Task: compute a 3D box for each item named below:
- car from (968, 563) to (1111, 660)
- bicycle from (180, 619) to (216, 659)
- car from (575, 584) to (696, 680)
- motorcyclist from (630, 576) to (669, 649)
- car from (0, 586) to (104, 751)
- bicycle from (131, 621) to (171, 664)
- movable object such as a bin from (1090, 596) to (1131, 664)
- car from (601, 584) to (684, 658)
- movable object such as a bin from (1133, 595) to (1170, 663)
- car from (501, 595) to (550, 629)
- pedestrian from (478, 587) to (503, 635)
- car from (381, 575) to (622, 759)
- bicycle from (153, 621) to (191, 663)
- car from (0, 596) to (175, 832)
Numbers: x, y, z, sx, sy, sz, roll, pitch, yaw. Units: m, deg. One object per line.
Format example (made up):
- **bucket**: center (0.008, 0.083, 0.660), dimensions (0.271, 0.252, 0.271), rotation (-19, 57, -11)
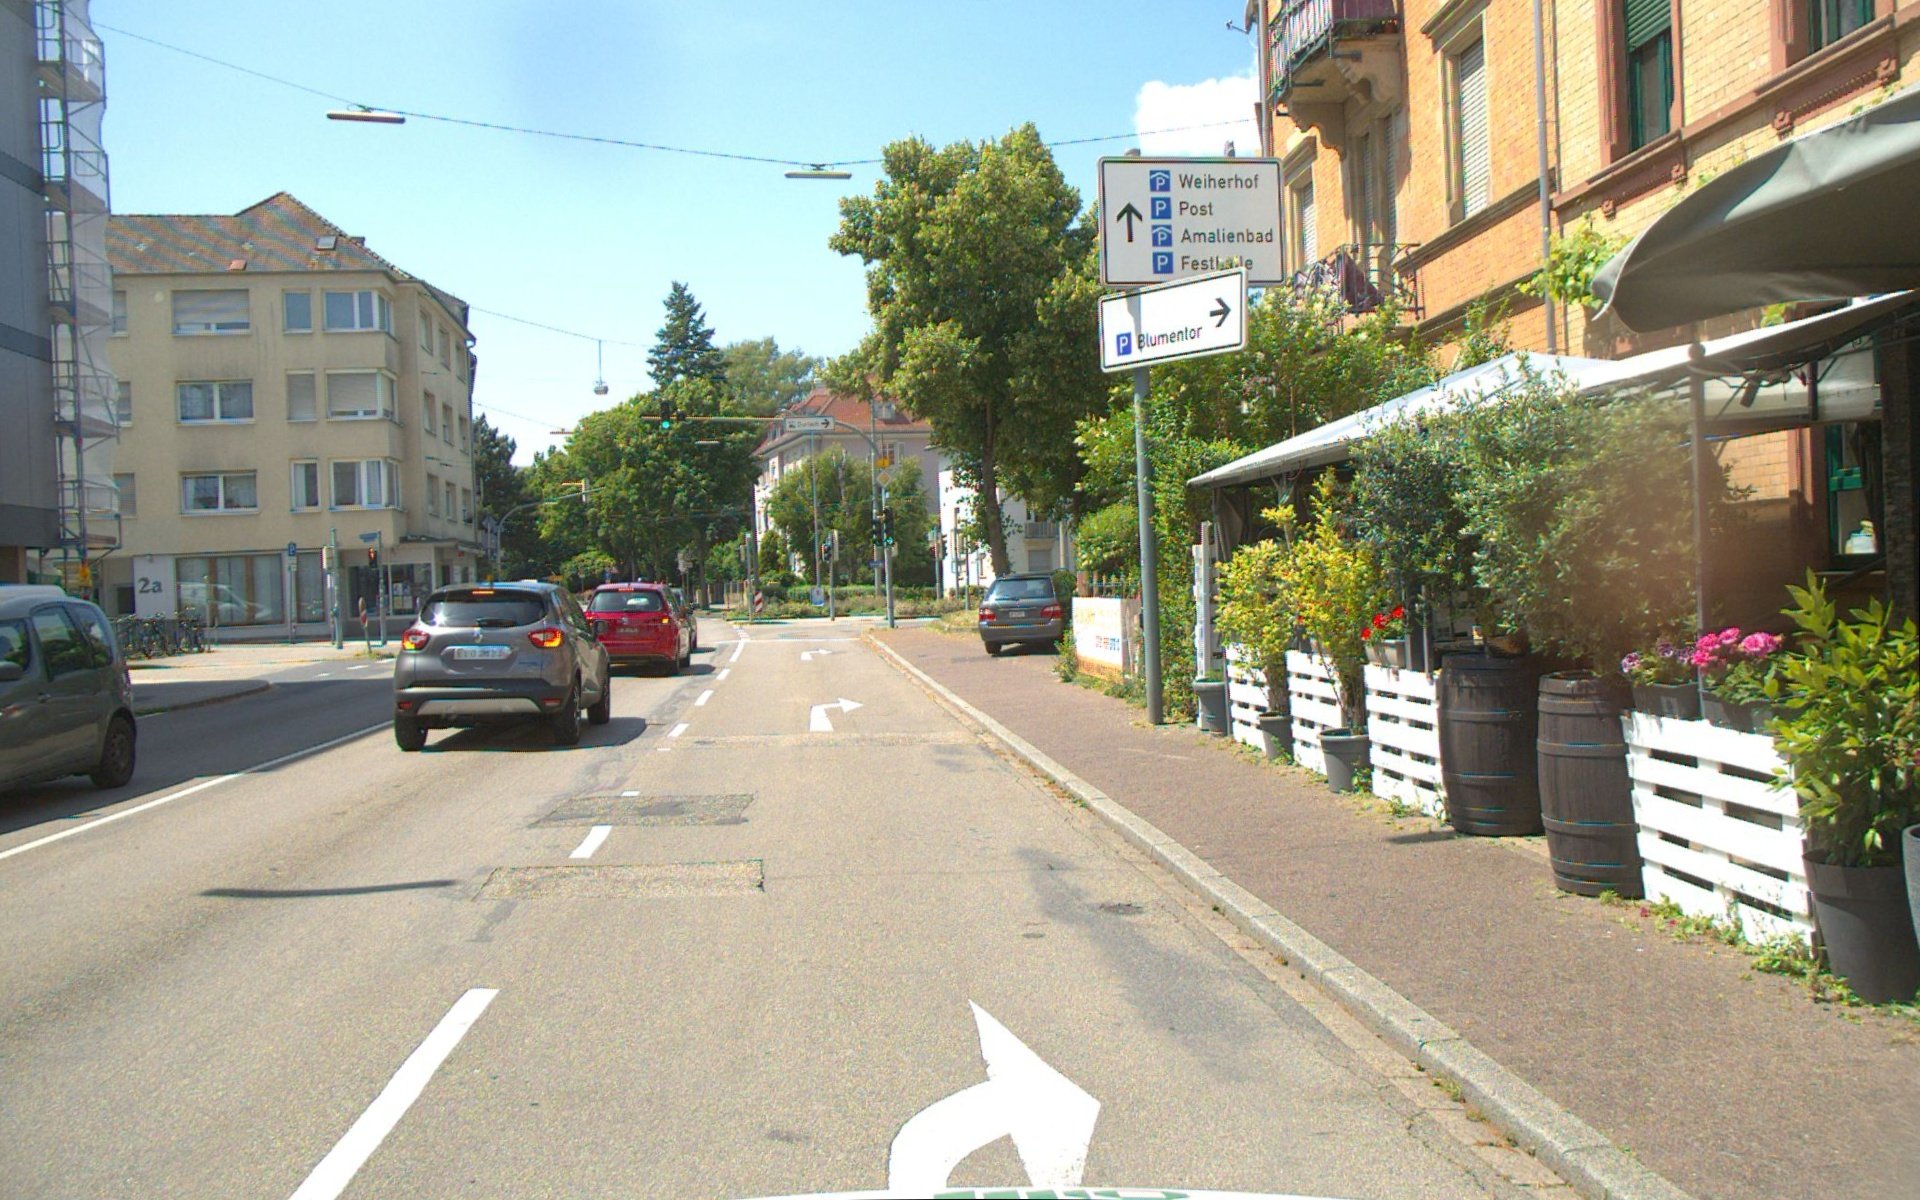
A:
- **car**: center (1.666, 0.157, 32.652), dimensions (1.795, 1.575, 5.162), rotation (-3, 2, 14)
- **bicycle**: center (-20.197, 1.020, 43.858), dimensions (0.390, 0.984, 1.779), rotation (-2, 0, -10)
- **car**: center (-5.814, 0.534, 30.040), dimensions (1.764, 1.585, 4.032), rotation (-1, 0, -6)
- **motorcyclist**: center (-6.504, 0.254, 34.662), dimensions (0.697, 1.470, 1.017), rotation (-2, 0, -8)
- **car**: center (-11.825, 0.828, 19.028), dimensions (1.878, 1.857, 4.780), rotation (-4, 0, -7)
- **bicycle**: center (-19.525, 1.015, 39.929), dimensions (0.390, 0.984, 1.714), rotation (-2, 0, -10)
- **movable object such as a bin**: center (2.503, 0.499, 27.637), dimensions (0.635, 1.090, 0.637), rotation (-2, 0, 4)
- **car**: center (-7.384, 0.459, 38.752), dimensions (1.766, 1.585, 4.028), rotation (-2, 0, -9)
- **movable object such as a bin**: center (3.186, 0.482, 27.589), dimensions (0.540, 1.090, 0.706), rotation (-2, 0, 3)
- **car**: center (-21.314, 0.598, 81.048), dimensions (1.964, 1.545, 3.977), rotation (-1, -1, -19)
- **pedestrian**: center (-19.733, 0.450, 69.513), dimensions (0.921, 1.965, 0.972), rotation (-2, 0, -18)
- **car**: center (-4.678, 0.602, 17.421), dimensions (1.720, 1.660, 3.996), rotation (-1, 1, -5)
- **bicycle**: center (-19.881, 1.047, 41.768), dimensions (0.390, 0.984, 1.742), rotation (-2, 0, -10)
- **car**: center (-7.512, 0.821, 12.186), dimensions (1.669, 1.602, 4.307), rotation (-3, 1, -6)
